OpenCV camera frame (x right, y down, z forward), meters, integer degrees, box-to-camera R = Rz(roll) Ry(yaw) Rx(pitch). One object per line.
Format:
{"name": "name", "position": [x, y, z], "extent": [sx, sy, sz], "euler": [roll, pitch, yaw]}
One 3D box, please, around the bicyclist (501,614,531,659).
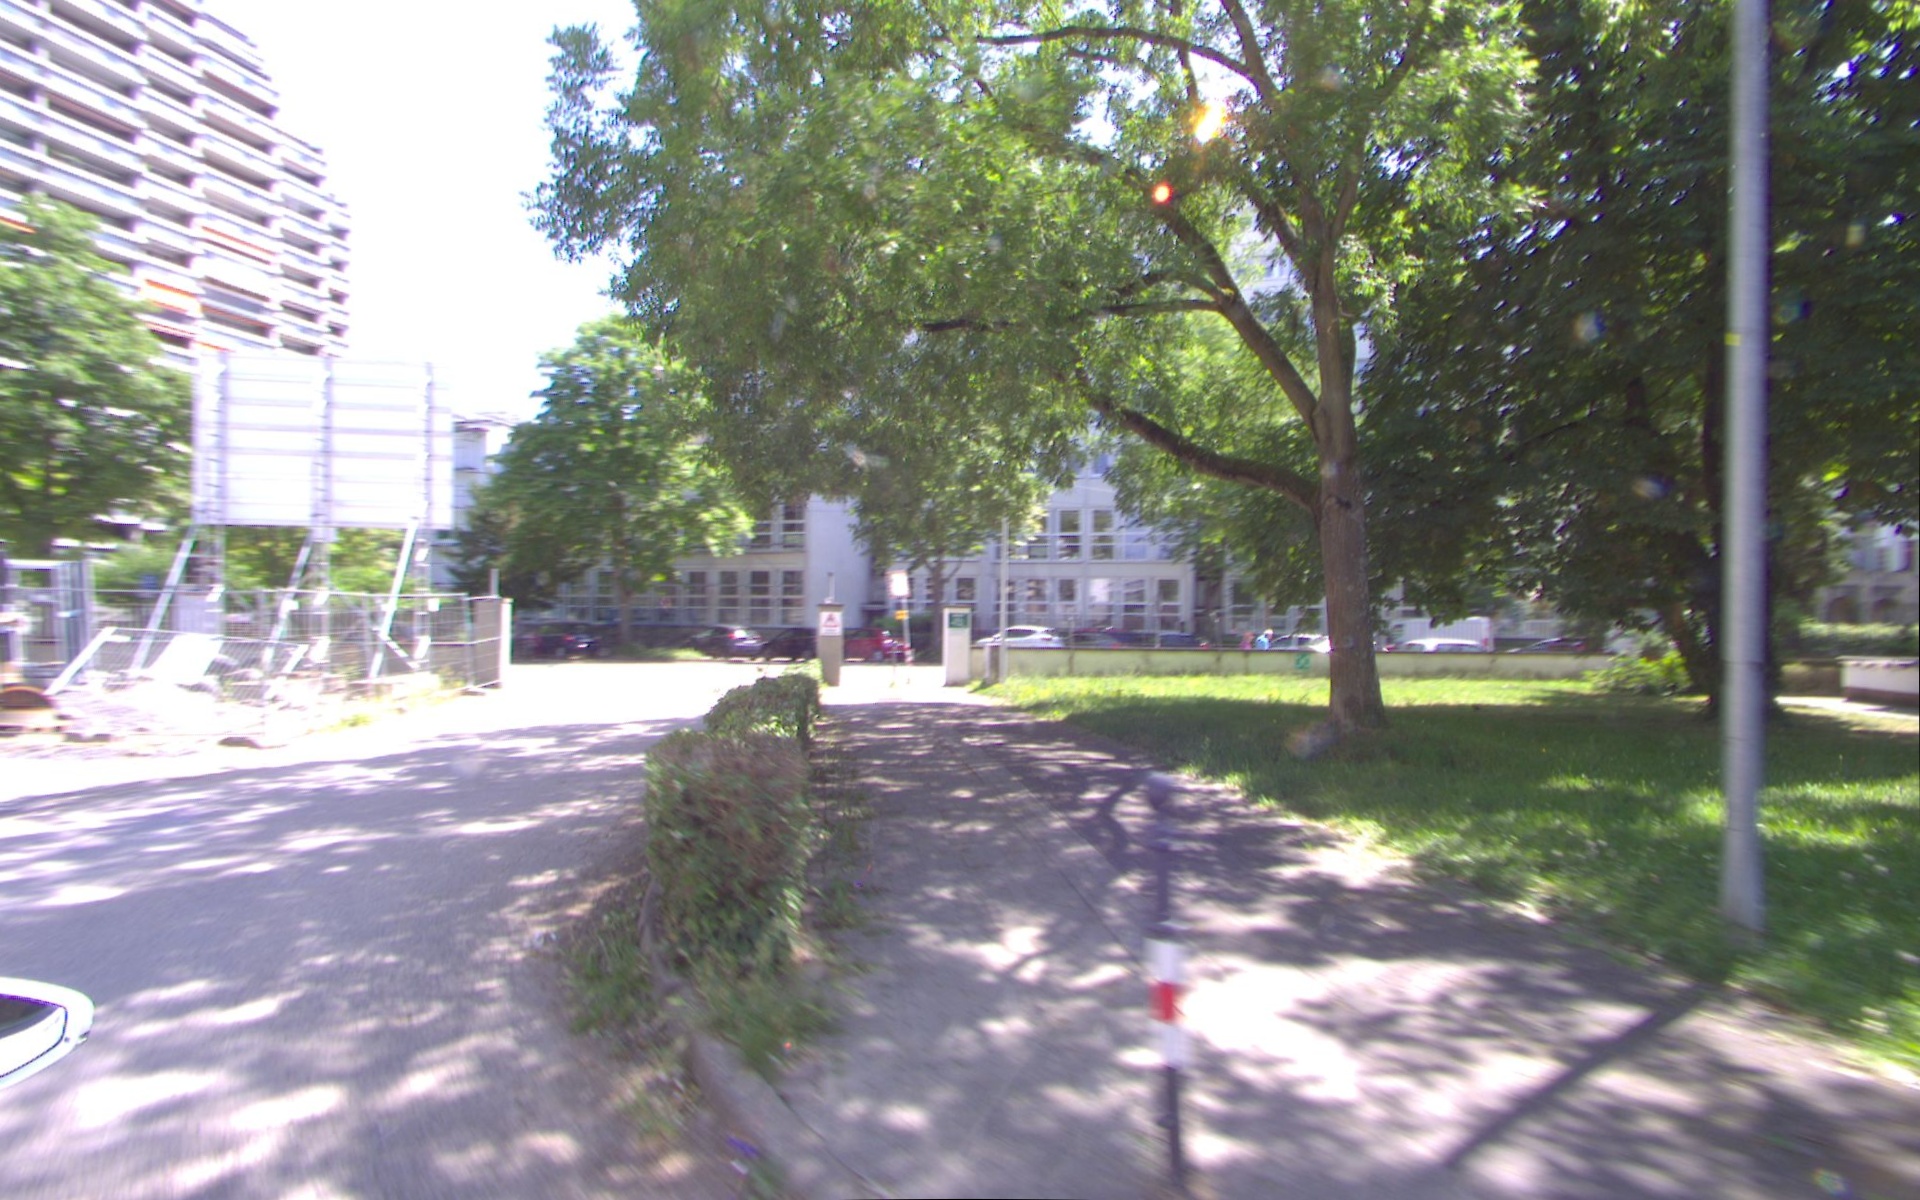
{"name": "bicyclist", "position": [-16.841, 1.377, 37.980], "extent": [0.884, 1.687, 0.858], "euler": [0, -1, -13]}

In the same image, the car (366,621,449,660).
{"name": "car", "position": [-22.033, 1.584, 39.892], "extent": [3.632, 1.482, 1.627], "euler": [-1, -2, 38]}

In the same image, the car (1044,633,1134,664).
{"name": "car", "position": [5.750, 2.143, 44.836], "extent": [3.699, 1.297, 1.601], "euler": [-1, -2, 39]}

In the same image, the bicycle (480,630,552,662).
{"name": "bicycle", "position": [-16.816, 1.748, 37.974], "extent": [2.396, 1.167, 0.785], "euler": [1, -1, -14]}

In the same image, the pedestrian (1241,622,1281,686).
{"name": "pedestrian", "position": [7.745, 1.394, 25.784], "extent": [0.719, 1.609, 0.741], "euler": [0, -3, -9]}

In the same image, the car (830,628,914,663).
{"name": "car", "position": [-3.849, 1.951, 43.541], "extent": [3.559, 1.455, 1.601], "euler": [-1, -2, 39]}

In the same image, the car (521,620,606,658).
{"name": "car", "position": [-16.338, 1.569, 41.205], "extent": [3.632, 1.482, 1.627], "euler": [-1, -2, 38]}

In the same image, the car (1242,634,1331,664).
{"name": "car", "position": [15.245, 2.277, 46.771], "extent": [3.690, 1.307, 1.605], "euler": [-1, -1, 31]}

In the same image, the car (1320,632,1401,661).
{"name": "car", "position": [18.800, 2.147, 46.979], "extent": [3.318, 1.307, 1.526], "euler": [-1, -1, 33]}

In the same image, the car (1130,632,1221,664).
{"name": "car", "position": [9.633, 2.123, 44.934], "extent": [3.700, 1.322, 1.600], "euler": [-1, -2, 40]}

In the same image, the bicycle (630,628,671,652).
{"name": "bicycle", "position": [-15.132, 1.938, 49.003], "extent": [0.768, 1.172, 2.383], "euler": [0, -1, 14]}

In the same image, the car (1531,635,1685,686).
{"name": "car", "position": [20.023, 1.854, 31.000], "extent": [3.863, 1.483, 1.705], "euler": [1, -1, -9]}

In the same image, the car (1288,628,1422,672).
{"name": "car", "position": [13.914, 1.750, 35.355], "extent": [4.066, 1.483, 1.764], "euler": [1, -1, -9]}

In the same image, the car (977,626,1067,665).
{"name": "car", "position": [2.723, 1.981, 44.325], "extent": [3.692, 1.641, 1.604], "euler": [-1, -1, 33]}

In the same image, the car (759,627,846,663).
{"name": "car", "position": [-6.769, 1.907, 42.843], "extent": [3.629, 1.463, 1.602], "euler": [-1, -1, 36]}

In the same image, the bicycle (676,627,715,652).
{"name": "bicycle", "position": [-12.775, 1.898, 48.481], "extent": [0.768, 1.203, 2.430], "euler": [0, -1, 14]}

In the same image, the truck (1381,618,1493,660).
{"name": "truck", "position": [22.380, 1.834, 47.016], "extent": [4.580, 1.856, 1.647], "euler": [-1, -2, 34]}

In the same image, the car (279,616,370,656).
{"name": "car", "position": [-24.594, 1.390, 38.744], "extent": [3.626, 1.482, 1.630], "euler": [-1, -1, 33]}

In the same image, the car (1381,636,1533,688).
{"name": "car", "position": [15.031, 1.850, 30.366], "extent": [3.863, 1.483, 1.705], "euler": [1, -1, -9]}

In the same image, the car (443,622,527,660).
{"name": "car", "position": [-19.330, 1.641, 40.725], "extent": [3.632, 1.482, 1.627], "euler": [-1, -2, 38]}

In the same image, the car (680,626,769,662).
{"name": "car", "position": [-10.001, 1.834, 42.520], "extent": [3.626, 1.482, 1.636], "euler": [-1, -1, 33]}

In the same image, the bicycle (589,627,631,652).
{"name": "bicycle", "position": [-17.255, 1.940, 49.459], "extent": [0.768, 1.172, 2.383], "euler": [0, -1, 14]}

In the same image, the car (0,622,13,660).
{"name": "car", "position": [-37.053, 1.518, 37.642], "extent": [3.633, 1.405, 1.627], "euler": [-1, -2, 39]}

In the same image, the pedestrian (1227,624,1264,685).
{"name": "pedestrian", "position": [7.684, 1.469, 26.963], "extent": [0.719, 1.609, 0.741], "euler": [0, -3, -7]}

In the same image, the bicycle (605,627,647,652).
{"name": "bicycle", "position": [-16.395, 1.917, 49.220], "extent": [0.768, 1.172, 2.383], "euler": [0, -1, 14]}

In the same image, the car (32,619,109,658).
{"name": "car", "position": [-33.727, 1.424, 37.944], "extent": [3.633, 1.405, 1.627], "euler": [-1, -2, 39]}

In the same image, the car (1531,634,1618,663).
{"name": "car", "position": [29.145, 2.265, 47.555], "extent": [3.306, 1.307, 1.485], "euler": [-1, -2, 44]}

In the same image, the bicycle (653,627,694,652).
{"name": "bicycle", "position": [-13.921, 1.902, 48.722], "extent": [0.768, 1.203, 2.430], "euler": [0, -1, 14]}

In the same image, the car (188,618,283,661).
{"name": "car", "position": [-26.399, 1.402, 36.440], "extent": [3.626, 1.482, 1.630], "euler": [-1, -1, 33]}

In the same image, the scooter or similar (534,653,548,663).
{"name": "scooter or similar", "position": [-15.689, 2.177, 37.470], "extent": [0.438, 0.363, 0.365], "euler": [0, -2, -13]}

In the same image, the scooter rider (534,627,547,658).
{"name": "scooter rider", "position": [-15.698, 1.598, 37.477], "extent": [0.410, 1.148, 0.358], "euler": [0, -1, -13]}
